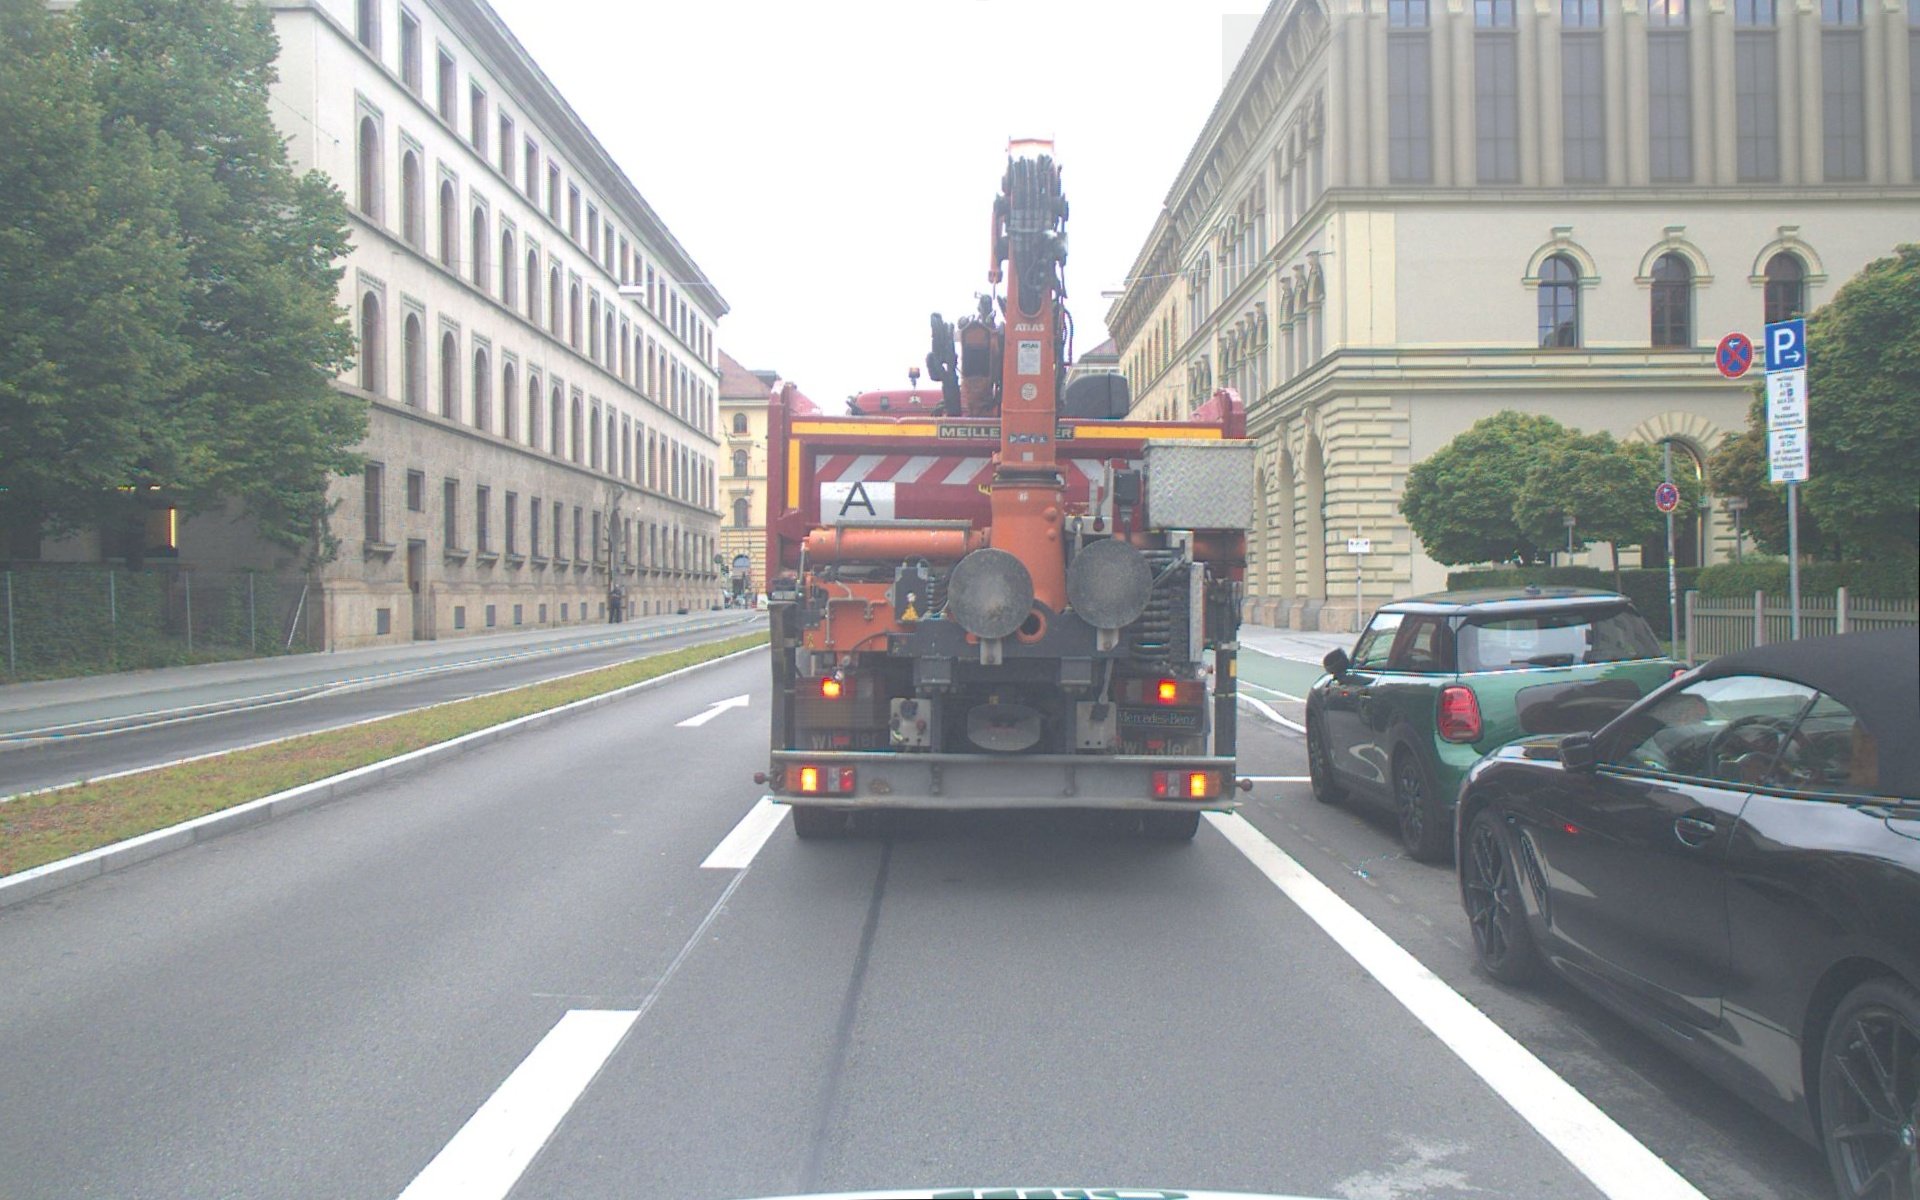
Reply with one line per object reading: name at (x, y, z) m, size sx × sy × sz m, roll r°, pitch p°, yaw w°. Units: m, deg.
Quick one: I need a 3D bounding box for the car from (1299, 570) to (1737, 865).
car at (3.286, 0.599, 10.404) m, size 1.577 × 1.521 × 3.424 m, roll -1°, pitch 1°, yaw 0°

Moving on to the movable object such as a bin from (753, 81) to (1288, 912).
movable object such as a bin at (0.219, -0.489, 10.275) m, size 2.374 × 3.674 × 5.850 m, roll 0°, pitch 0°, yaw -1°

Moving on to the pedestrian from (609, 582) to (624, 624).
pedestrian at (-15.422, 0.136, 74.220) m, size 0.577 × 1.863 × 0.498 m, roll 0°, pitch 1°, yaw -2°

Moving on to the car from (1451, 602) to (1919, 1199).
car at (2.883, 0.748, 4.682) m, size 1.646 × 1.410 × 4.426 m, roll -1°, pitch 1°, yaw 0°
